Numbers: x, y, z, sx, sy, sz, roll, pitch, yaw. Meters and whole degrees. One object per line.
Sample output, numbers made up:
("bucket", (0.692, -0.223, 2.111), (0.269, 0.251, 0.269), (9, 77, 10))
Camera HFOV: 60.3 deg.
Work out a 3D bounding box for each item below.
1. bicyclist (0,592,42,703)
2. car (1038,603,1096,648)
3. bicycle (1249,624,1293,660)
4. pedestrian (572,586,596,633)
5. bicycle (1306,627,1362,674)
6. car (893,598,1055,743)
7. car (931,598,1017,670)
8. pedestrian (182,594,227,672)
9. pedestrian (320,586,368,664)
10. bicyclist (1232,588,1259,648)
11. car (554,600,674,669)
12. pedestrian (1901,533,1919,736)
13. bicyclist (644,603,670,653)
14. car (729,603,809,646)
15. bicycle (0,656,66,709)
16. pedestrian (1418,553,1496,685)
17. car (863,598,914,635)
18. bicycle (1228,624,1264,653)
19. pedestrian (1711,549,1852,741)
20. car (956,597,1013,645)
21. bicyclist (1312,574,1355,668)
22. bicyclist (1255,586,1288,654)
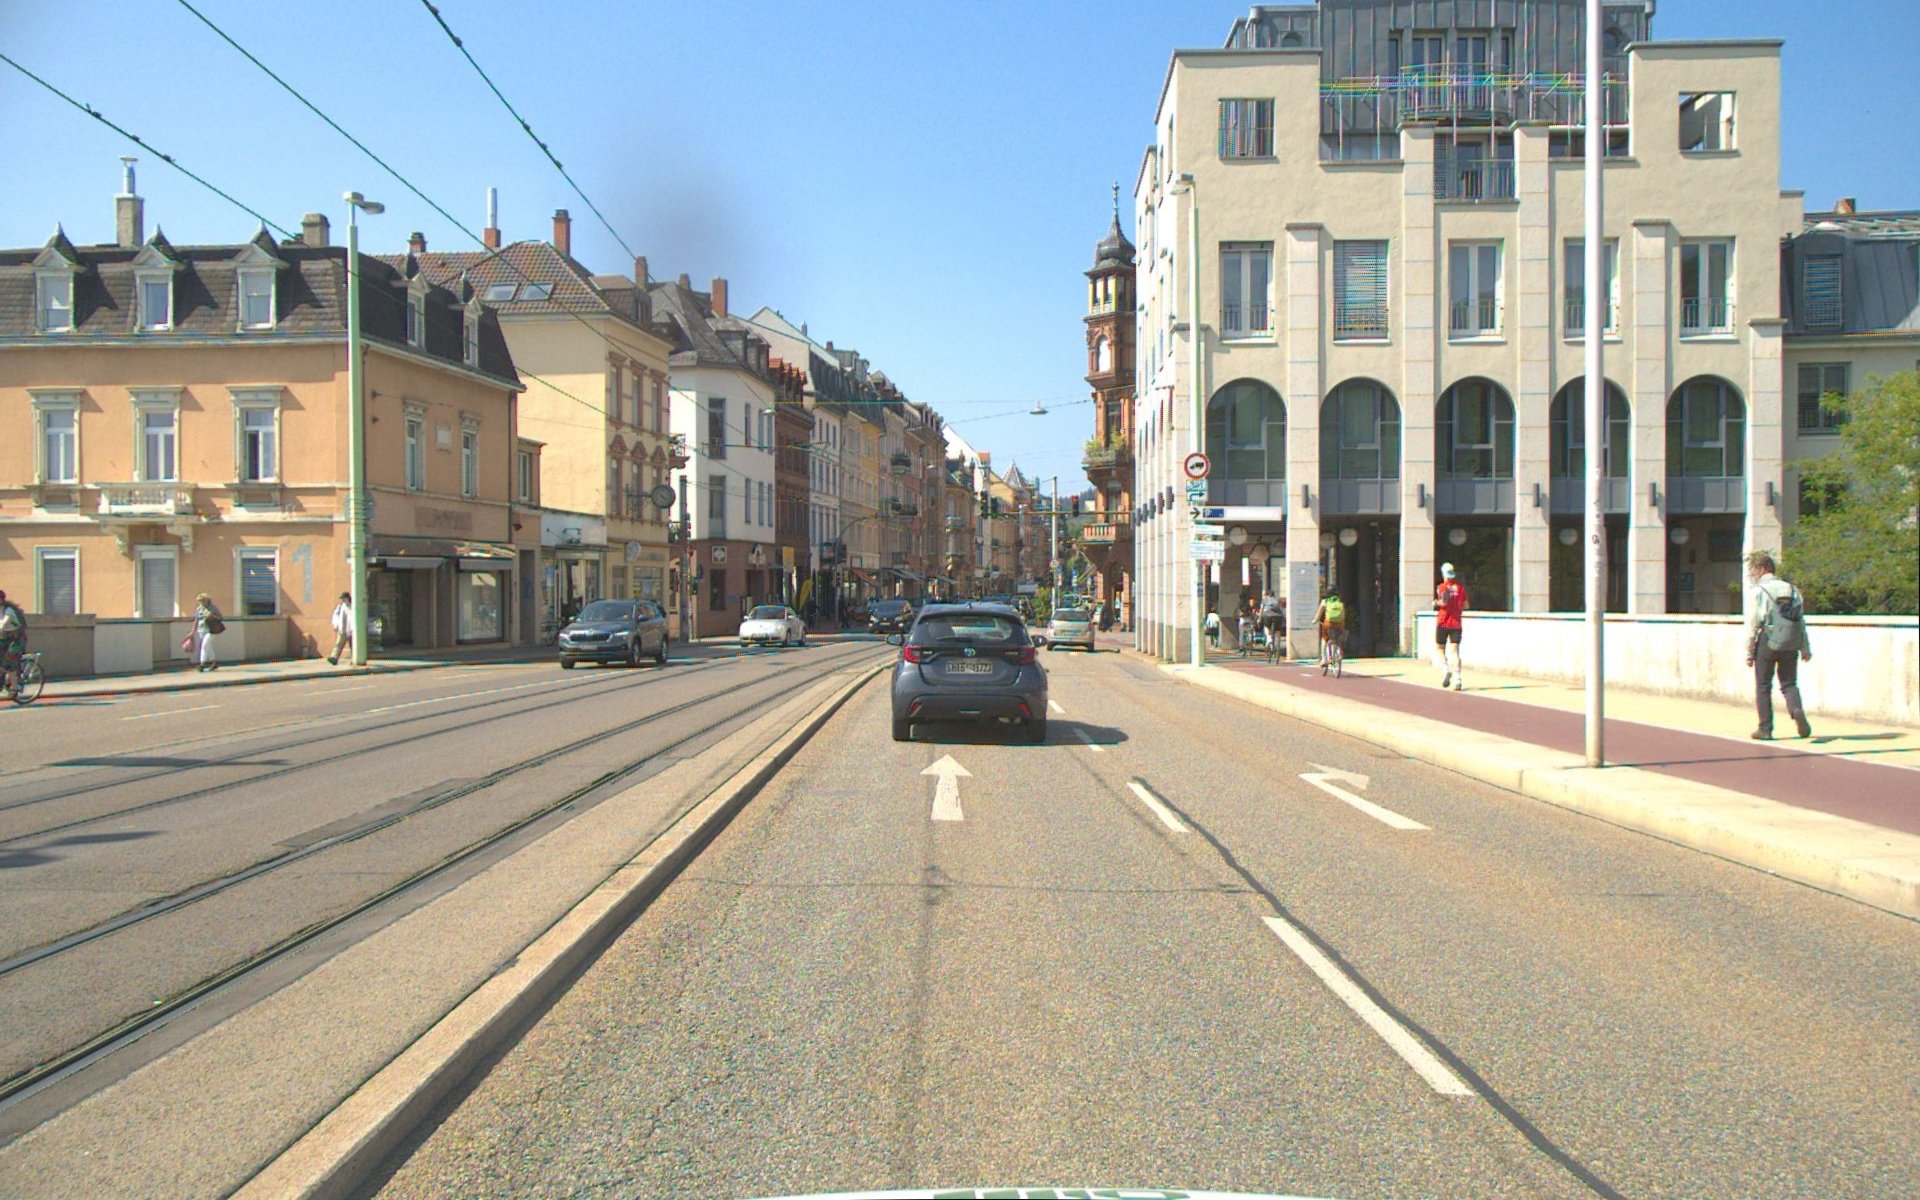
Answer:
("bicyclist", (-14.807, 0.728, 25.750), (0.614, 1.679, 0.622), (1, 1, 8))
("car", (3.766, 0.881, 58.862), (1.671, 1.491, 4.325), (1, 0, -1))
("bicycle", (7.288, 0.979, 38.769), (0.582, 0.779, 1.830), (-1, 0, -3))
("pedestrian", (-13.699, 0.345, 60.289), (0.636, 1.629, 0.566), (4, 2, 0))
("bicycle", (6.804, 0.913, 30.151), (0.581, 0.779, 1.866), (-1, 0, 0))
("car", (0.116, 0.745, 19.302), (1.685, 1.499, 3.657), (1, 0, -1))
("car", (0.276, 0.761, 38.521), (1.859, 1.557, 3.999), (1, 0, -1))
("pedestrian", (-16.344, 0.708, 35.798), (0.636, 1.629, 0.566), (4, 2, 0))
("pedestrian", (-14.709, 0.593, 39.517), (0.721, 1.797, 0.787), (4, 0, 0))
("bicyclist", (8.064, 0.506, 46.780), (0.575, 1.679, 0.701), (-1, 0, -3))
("car", (-8.214, 0.788, 39.610), (1.756, 1.572, 3.923), (0, 0, 5))
("pedestrian", (9.139, 0.294, 14.766), (0.992, 1.833, 0.741), (-2, 0, -2))
("bicyclist", (-10.452, 0.971, 57.068), (0.690, 1.679, 0.622), (1, 1, 8))
("car", (-6.743, 0.854, 58.795), (1.951, 1.457, 4.003), (1, 0, 6))
("bicycle", (-14.841, 1.287, 25.642), (0.607, 0.728, 2.047), (1, 1, 9))
("pedestrian", (7.567, 0.282, 25.232), (0.794, 1.958, 1.127), (-1, 0, -1))
("car", (-3.521, 0.805, 81.915), (1.951, 1.804, 4.003), (0, 0, 6))
("bicycle", (8.066, 1.084, 46.741), (0.582, 0.779, 1.865), (-1, 0, -3))
("pedestrian", (7.818, 0.416, 15.788), (0.739, 1.748, 1.073), (-2, 0, -1))
("car", (0.828, 0.705, 57.760), (1.859, 1.557, 3.999), (1, 0, -1))
("bicyclist", (6.791, 0.371, 30.111), (0.592, 1.679, 0.702), (-1, 0, 0))
("bicyclist", (7.285, 0.464, 38.715), (0.575, 1.586, 0.701), (-1, 0, -3))
